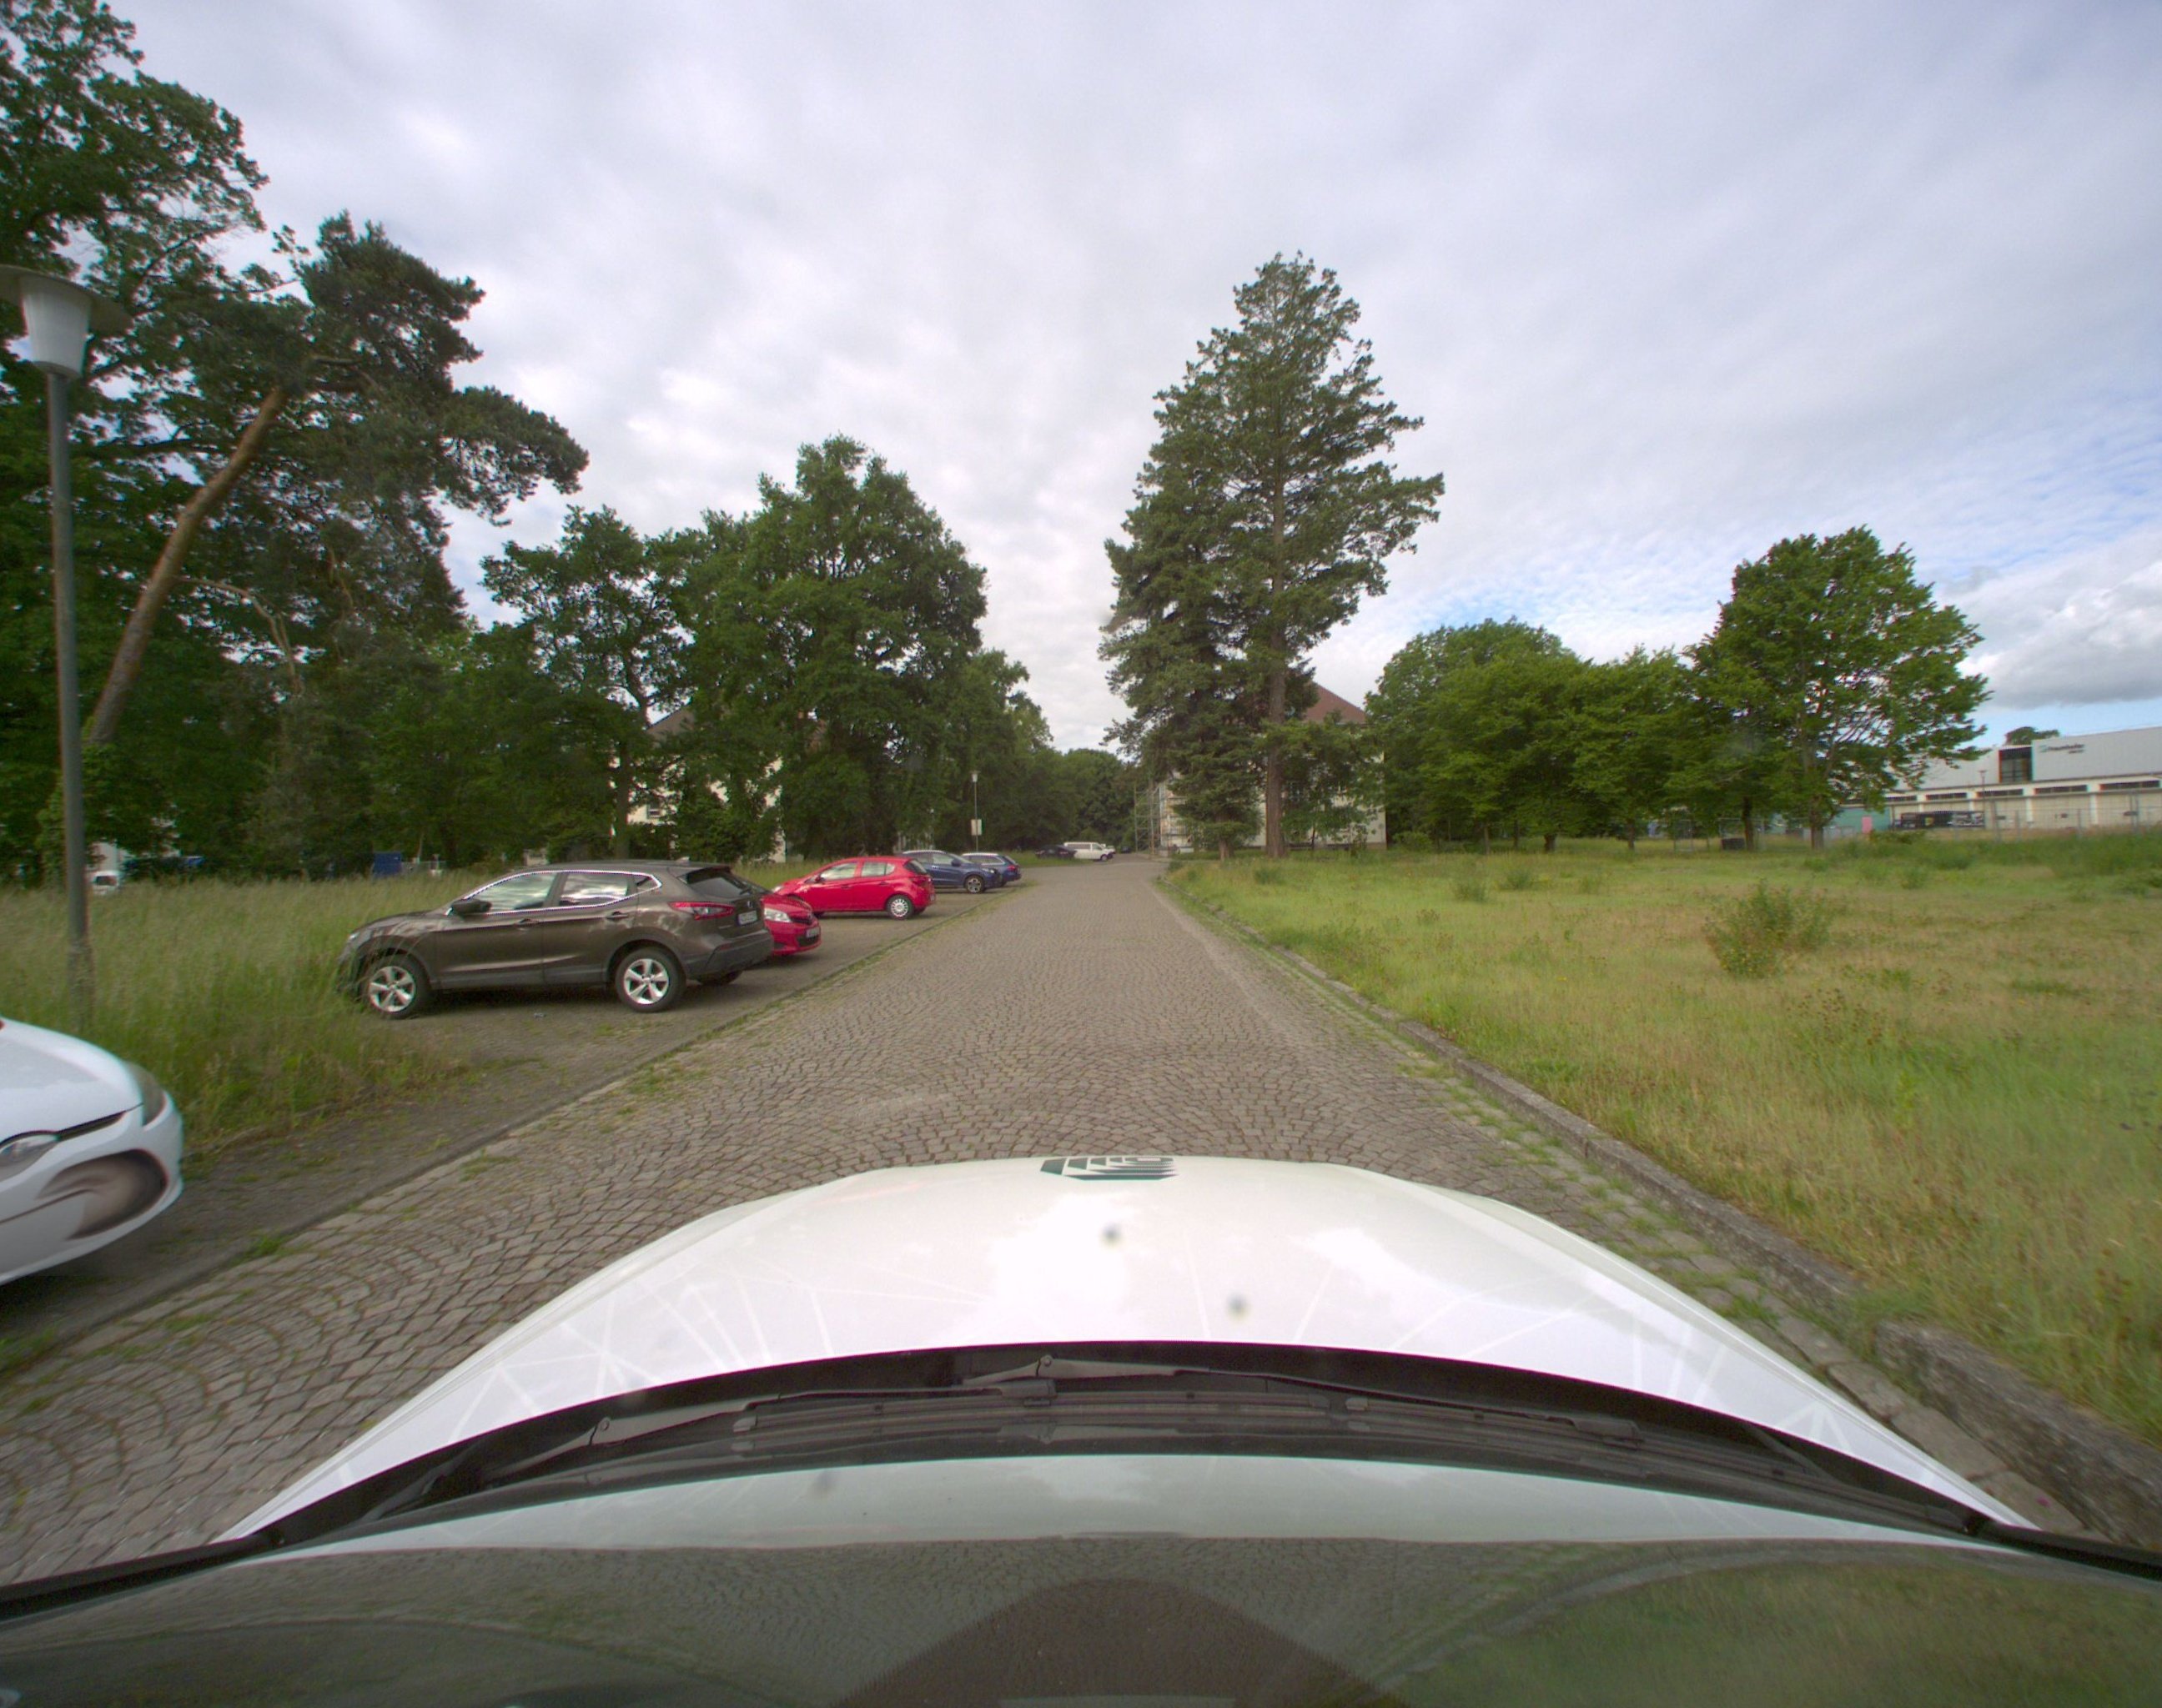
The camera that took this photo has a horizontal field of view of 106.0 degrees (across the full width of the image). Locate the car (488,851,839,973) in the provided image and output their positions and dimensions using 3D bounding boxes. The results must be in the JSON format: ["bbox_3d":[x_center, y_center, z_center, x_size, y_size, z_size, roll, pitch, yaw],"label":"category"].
[{"bbox_3d":[-6.003,0.797,12.114,4.152,1.510,1.907,-2,1,0],"label":"car"}]

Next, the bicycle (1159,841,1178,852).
[{"bbox_3d":[10.788,-0.939,100.448,2.230,1.254,0.778,-2,0,3],"label":"bicycle"}]

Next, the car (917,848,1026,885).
[{"bbox_3d":[-4.610,0.506,34.700,4.285,1.460,1.977,-1,1,3],"label":"car"}]

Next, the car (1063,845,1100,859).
[{"bbox_3d":[0.035,-0.239,86.046,3.778,1.395,1.999,-2,0,-1],"label":"car"}]

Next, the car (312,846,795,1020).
[{"bbox_3d":[-5.758,0.799,9.367,4.154,1.622,1.986,-2,1,-1],"label":"car"}]

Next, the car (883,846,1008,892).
[{"bbox_3d":[-4.912,0.536,29.978,4.214,1.577,1.887,-1,1,0],"label":"car"}]

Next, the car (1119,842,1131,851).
[{"bbox_3d":[8.005,-1.331,149.614,1.944,1.521,4.000,-2,0,0],"label":"car"}]

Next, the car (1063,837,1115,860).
[{"bbox_3d":[0.797,-0.549,83.433,5.219,2.168,1.999,-2,0,-1],"label":"car"}]

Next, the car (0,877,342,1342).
[{"bbox_3d":[-5.735,0.952,3.071,4.153,1.510,1.781,-2,1,-1],"label":"car"}]

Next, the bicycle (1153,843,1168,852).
[{"bbox_3d":[11.868,-1.026,121.994,2.230,1.254,0.635,-2,0,3],"label":"bicycle"}]

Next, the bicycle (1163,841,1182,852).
[{"bbox_3d":[10.974,-0.941,98.098,2.230,1.254,0.778,-2,0,3],"label":"bicycle"}]

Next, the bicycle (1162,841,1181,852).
[{"bbox_3d":[10.700,-0.927,96.191,2.230,1.254,0.778,-2,0,3],"label":"bicycle"}]

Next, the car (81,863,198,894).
[{"bbox_3d":[-67.059,1.695,58.142,1.984,2.013,5.237,-2,0,5],"label":"car"}]

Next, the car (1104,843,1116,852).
[{"bbox_3d":[5.330,-1.225,149.375,2.111,1.521,4.001,-2,0,1],"label":"car"}]

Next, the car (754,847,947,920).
[{"bbox_3d":[-5.470,0.675,19.739,4.042,1.525,1.905,-2,1,0],"label":"car"}]
